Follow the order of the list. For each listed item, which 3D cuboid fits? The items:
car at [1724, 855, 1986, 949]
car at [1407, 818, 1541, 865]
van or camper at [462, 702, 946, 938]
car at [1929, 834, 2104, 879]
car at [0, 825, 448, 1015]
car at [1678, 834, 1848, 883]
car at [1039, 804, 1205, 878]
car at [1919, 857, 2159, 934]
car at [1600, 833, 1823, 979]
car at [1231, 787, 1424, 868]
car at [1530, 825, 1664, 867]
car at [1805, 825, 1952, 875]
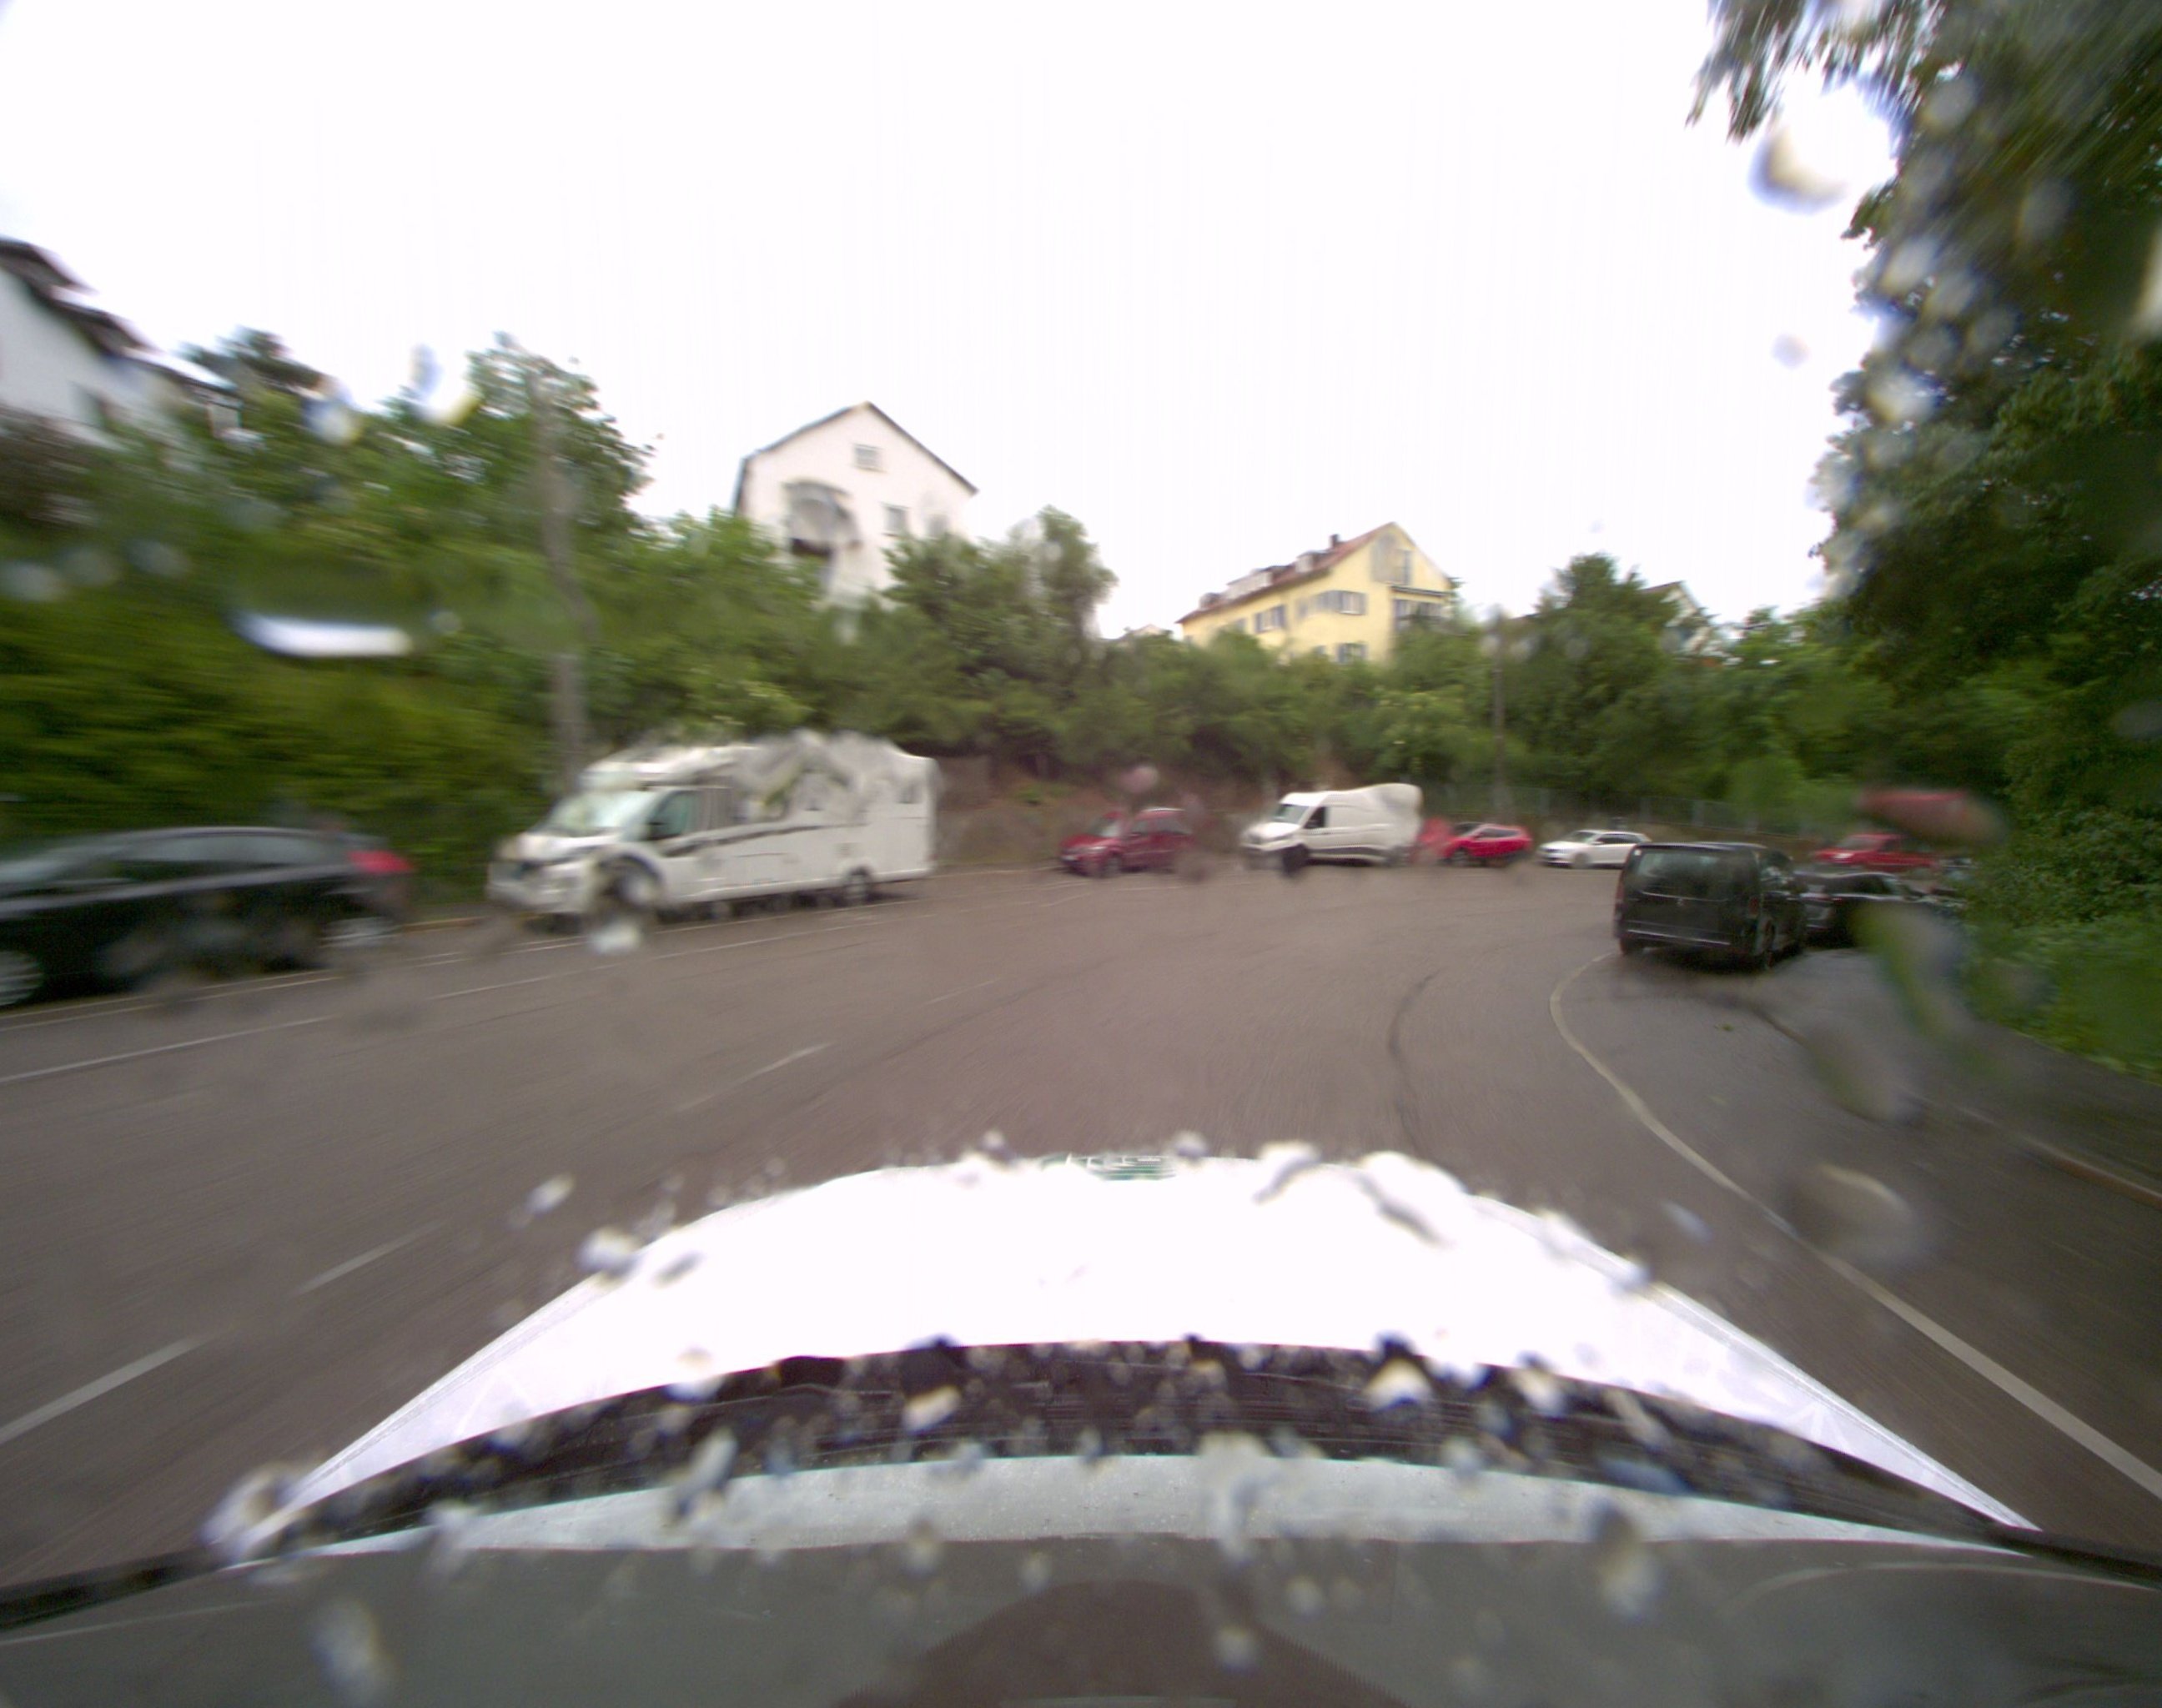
[{"bbox_3d":[15.871,0.881,16.713,4.875,1.487,1.896,-1,5,-20],"label":"car"},{"bbox_3d":[14.641,-0.475,30.364,4.428,1.585,1.772,0,4,-17],"label":"car"},{"bbox_3d":[-5.748,-0.598,14.130,2.428,2.966,7.574,3,3,30],"label":"van or camper"},{"bbox_3d":[36.615,0.057,31.989,4.363,1.619,2.003,1,3,4],"label":"car"},{"bbox_3d":[-8.750,0.461,7.550,1.893,1.411,4.153,2,3,20],"label":"car"},{"bbox_3d":[22.427,0.131,26.871,4.319,1.384,1.787,1,4,-7],"label":"car"},{"bbox_3d":[1.271,-0.464,23.546,4.849,1.875,1.976,-2,5,-44],"label":"car"},{"bbox_3d":[21.630,0.905,18.467,3.727,1.487,1.630,0,5,-6],"label":"car"},{"bbox_3d":[10.754,0.668,13.734,5.064,1.885,1.977,-1,6,-42],"label":"car"},{"bbox_3d":[8.558,-0.945,28.009,6.840,2.529,2.024,-1,5,-28],"label":"car"},{"bbox_3d":[19.922,-0.324,31.510,4.181,1.478,1.740,0,5,-8],"label":"car"},{"bbox_3d":[31.462,-0.178,32.218,4.113,1.767,1.755,2,3,-3],"label":"car"}]
